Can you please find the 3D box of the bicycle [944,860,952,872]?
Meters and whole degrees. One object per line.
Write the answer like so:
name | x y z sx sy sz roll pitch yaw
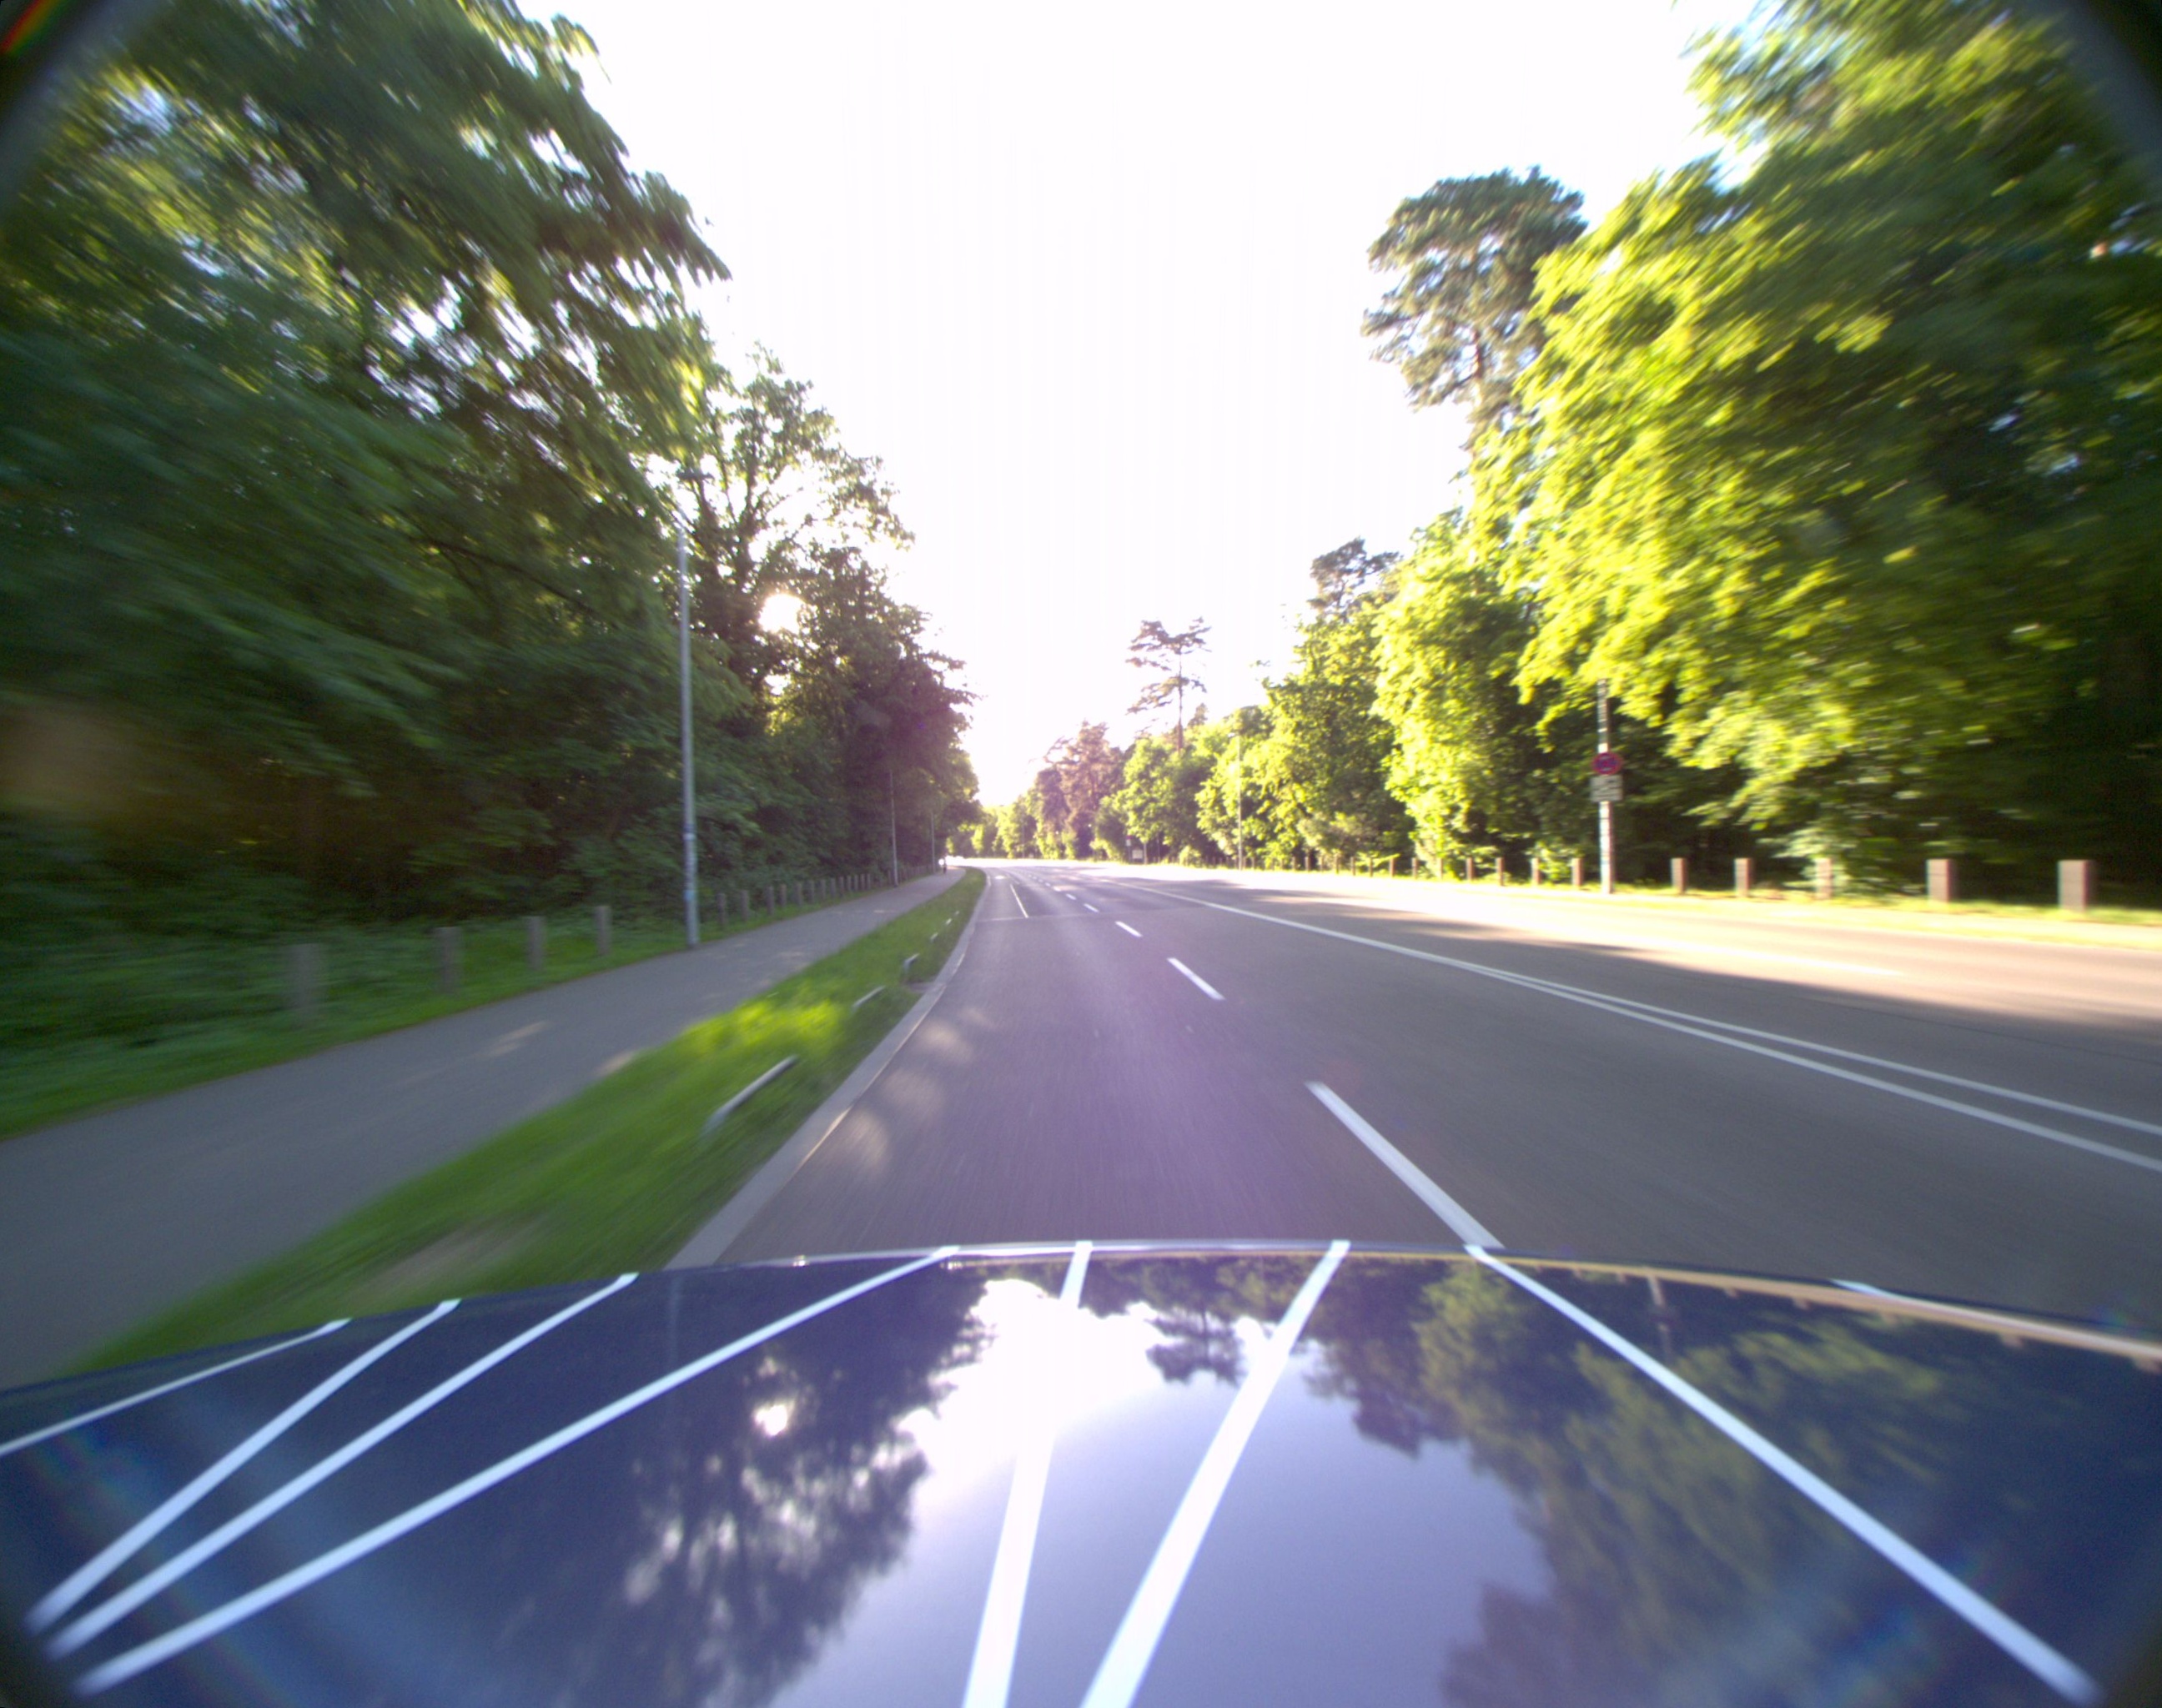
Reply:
bicycle | -12.745 1.138 72.899 0.608 1.051 2.873 -2 0 -8

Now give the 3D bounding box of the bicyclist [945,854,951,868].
bicyclist | -12.683 0.663 72.563 0.514 1.260 0.497 -2 1 -8

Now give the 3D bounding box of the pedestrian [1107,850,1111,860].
pedestrian | 3.931 0.141 107.514 0.472 1.307 0.512 -2 1 -8
